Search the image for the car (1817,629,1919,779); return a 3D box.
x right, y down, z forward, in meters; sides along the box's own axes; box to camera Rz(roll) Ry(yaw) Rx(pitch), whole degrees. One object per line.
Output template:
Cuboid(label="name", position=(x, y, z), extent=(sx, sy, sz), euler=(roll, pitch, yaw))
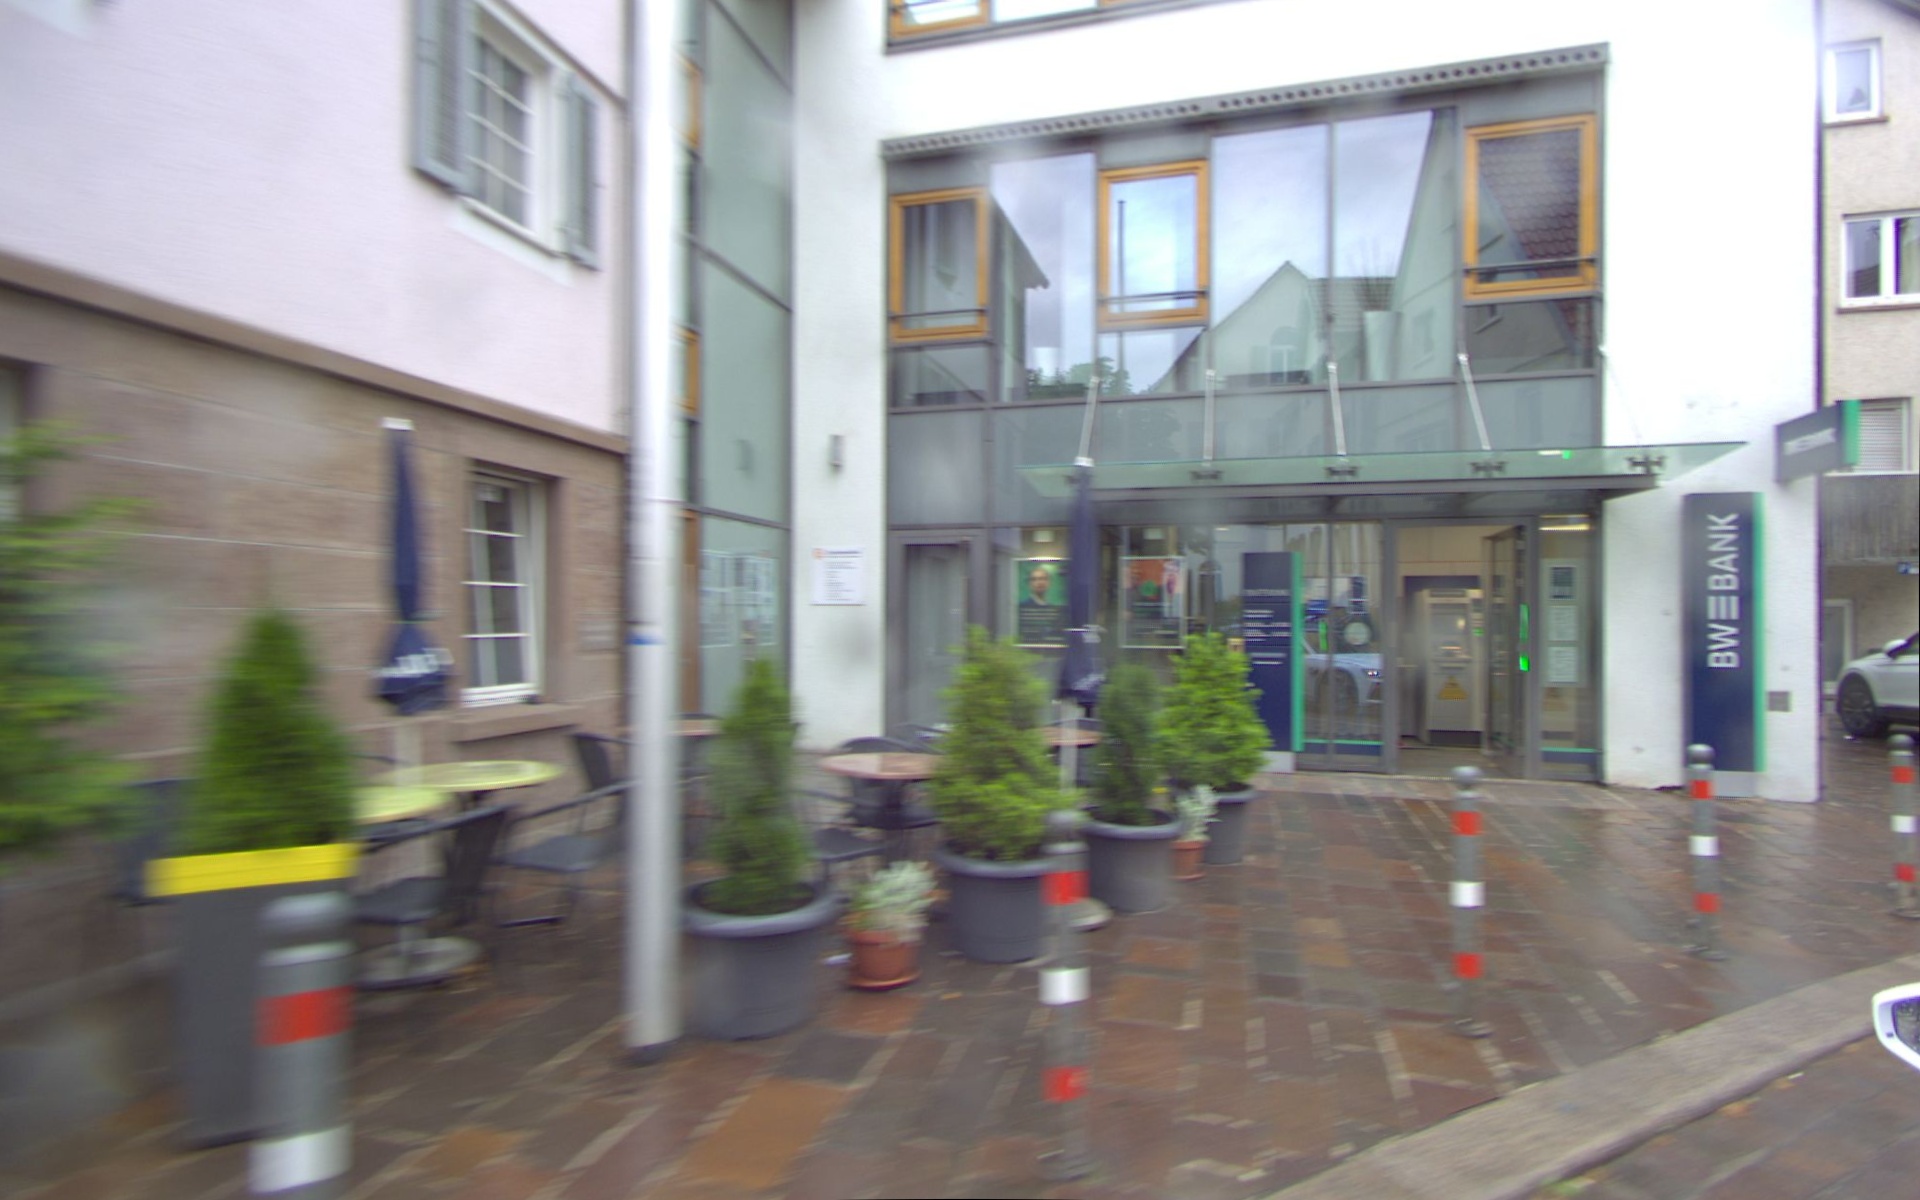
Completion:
Cuboid(label="car", position=(11.867, 1.193, 11.245), extent=(1.960, 1.698, 4.003), euler=(0, -3, 16))
